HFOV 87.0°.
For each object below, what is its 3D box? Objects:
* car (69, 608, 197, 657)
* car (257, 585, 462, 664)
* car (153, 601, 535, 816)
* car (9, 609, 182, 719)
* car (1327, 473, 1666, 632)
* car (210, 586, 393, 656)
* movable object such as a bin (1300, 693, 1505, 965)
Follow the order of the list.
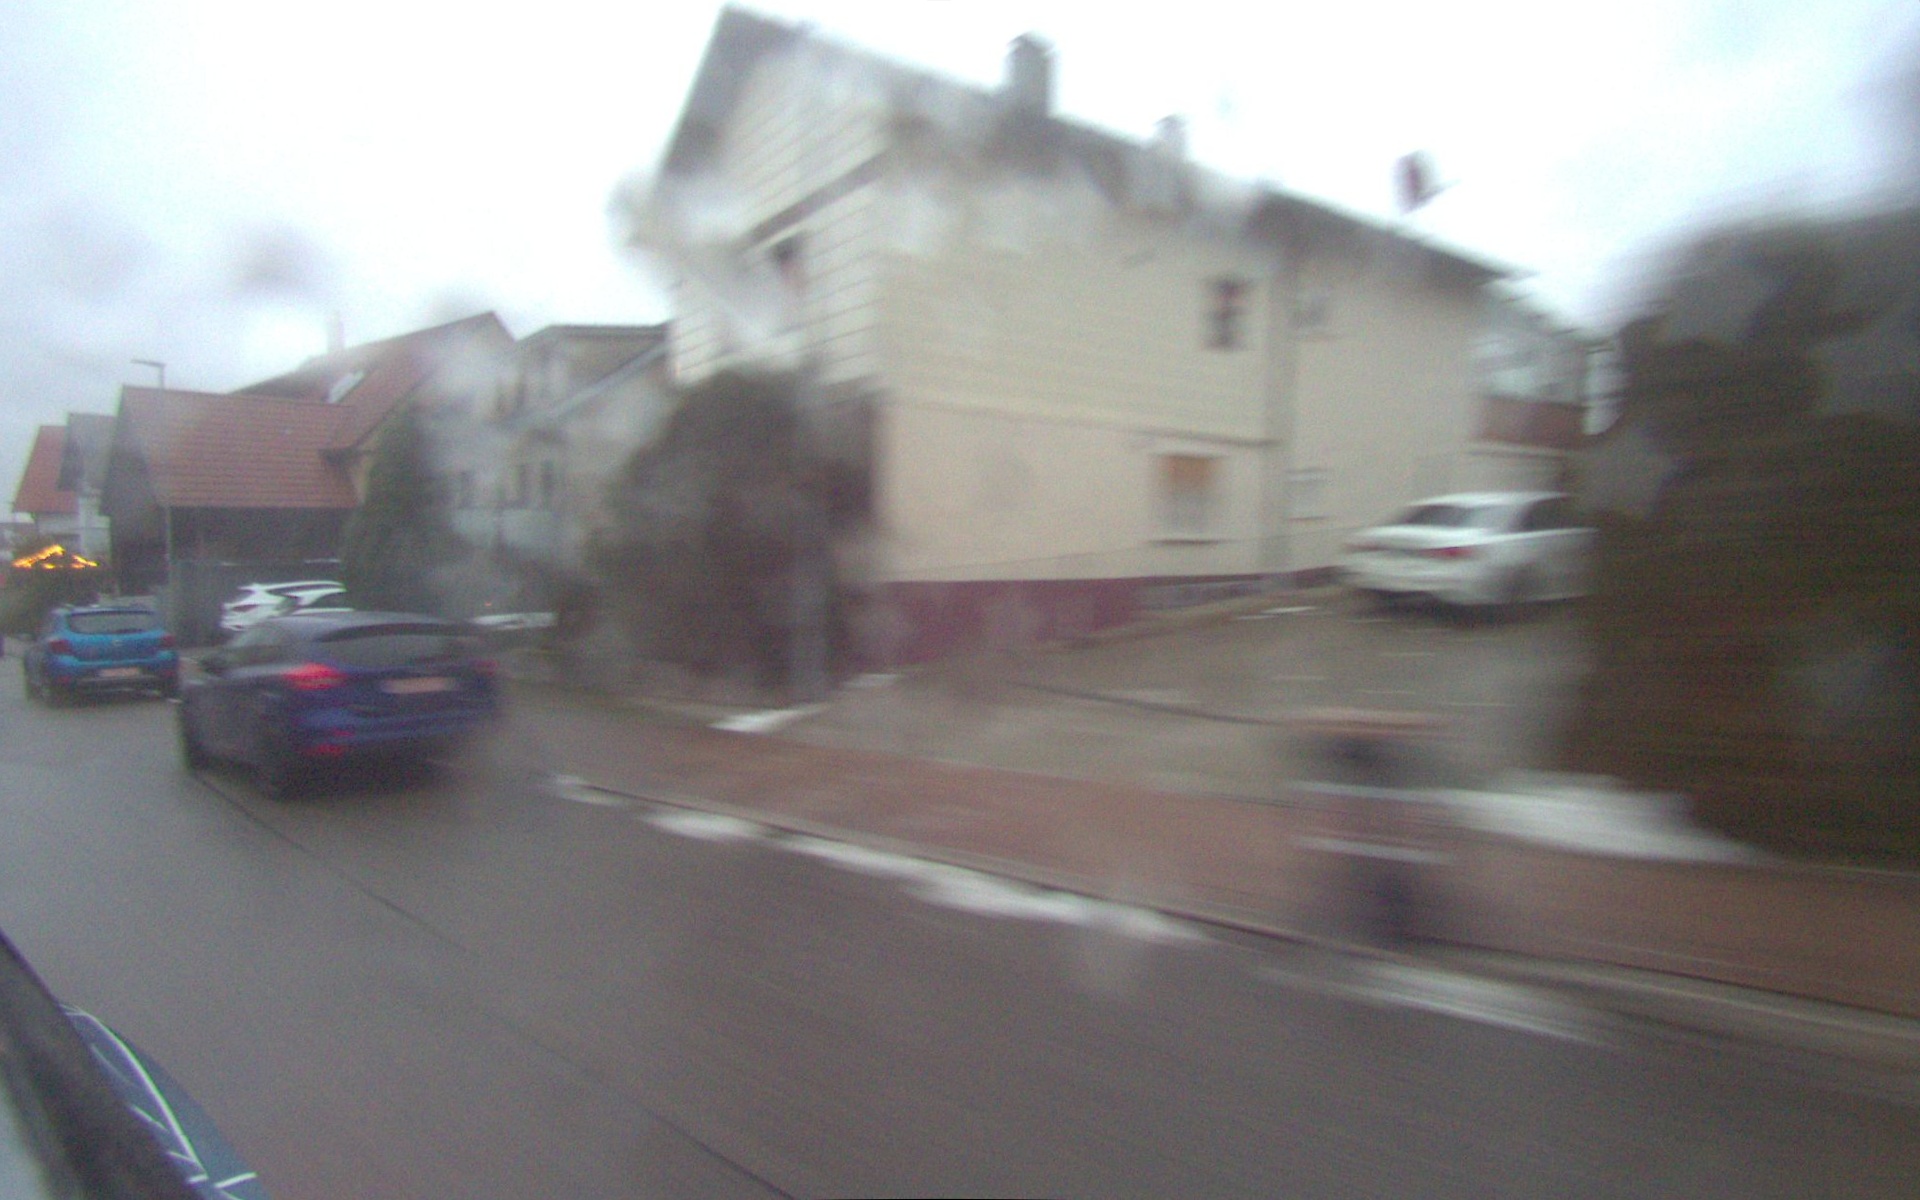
[{"bbox_3d":[-30.187,1.157,37.004,1.774,1.539,3.425,0,2,45],"label":"car"},{"bbox_3d":[-14.506,0.531,24.556,3.940,1.630,1.890,-3,2,-43],"label":"car"},{"bbox_3d":[-5.783,0.794,9.273,4.307,1.515,1.775,-1,0,41],"label":"car"},{"bbox_3d":[-14.834,0.984,17.290,4.174,1.596,1.666,0,1,42],"label":"car"},{"bbox_3d":[6.783,-0.709,12.758,3.934,1.501,1.981,-8,8,-30],"label":"car"},{"bbox_3d":[-18.552,0.534,28.614,2.000,1.759,3.945,0,2,42],"label":"car"},{"bbox_3d":[1.783,0.874,4.073,0.599,0.923,0.478,-4,2,38],"label":"movable object such as a bin"}]
